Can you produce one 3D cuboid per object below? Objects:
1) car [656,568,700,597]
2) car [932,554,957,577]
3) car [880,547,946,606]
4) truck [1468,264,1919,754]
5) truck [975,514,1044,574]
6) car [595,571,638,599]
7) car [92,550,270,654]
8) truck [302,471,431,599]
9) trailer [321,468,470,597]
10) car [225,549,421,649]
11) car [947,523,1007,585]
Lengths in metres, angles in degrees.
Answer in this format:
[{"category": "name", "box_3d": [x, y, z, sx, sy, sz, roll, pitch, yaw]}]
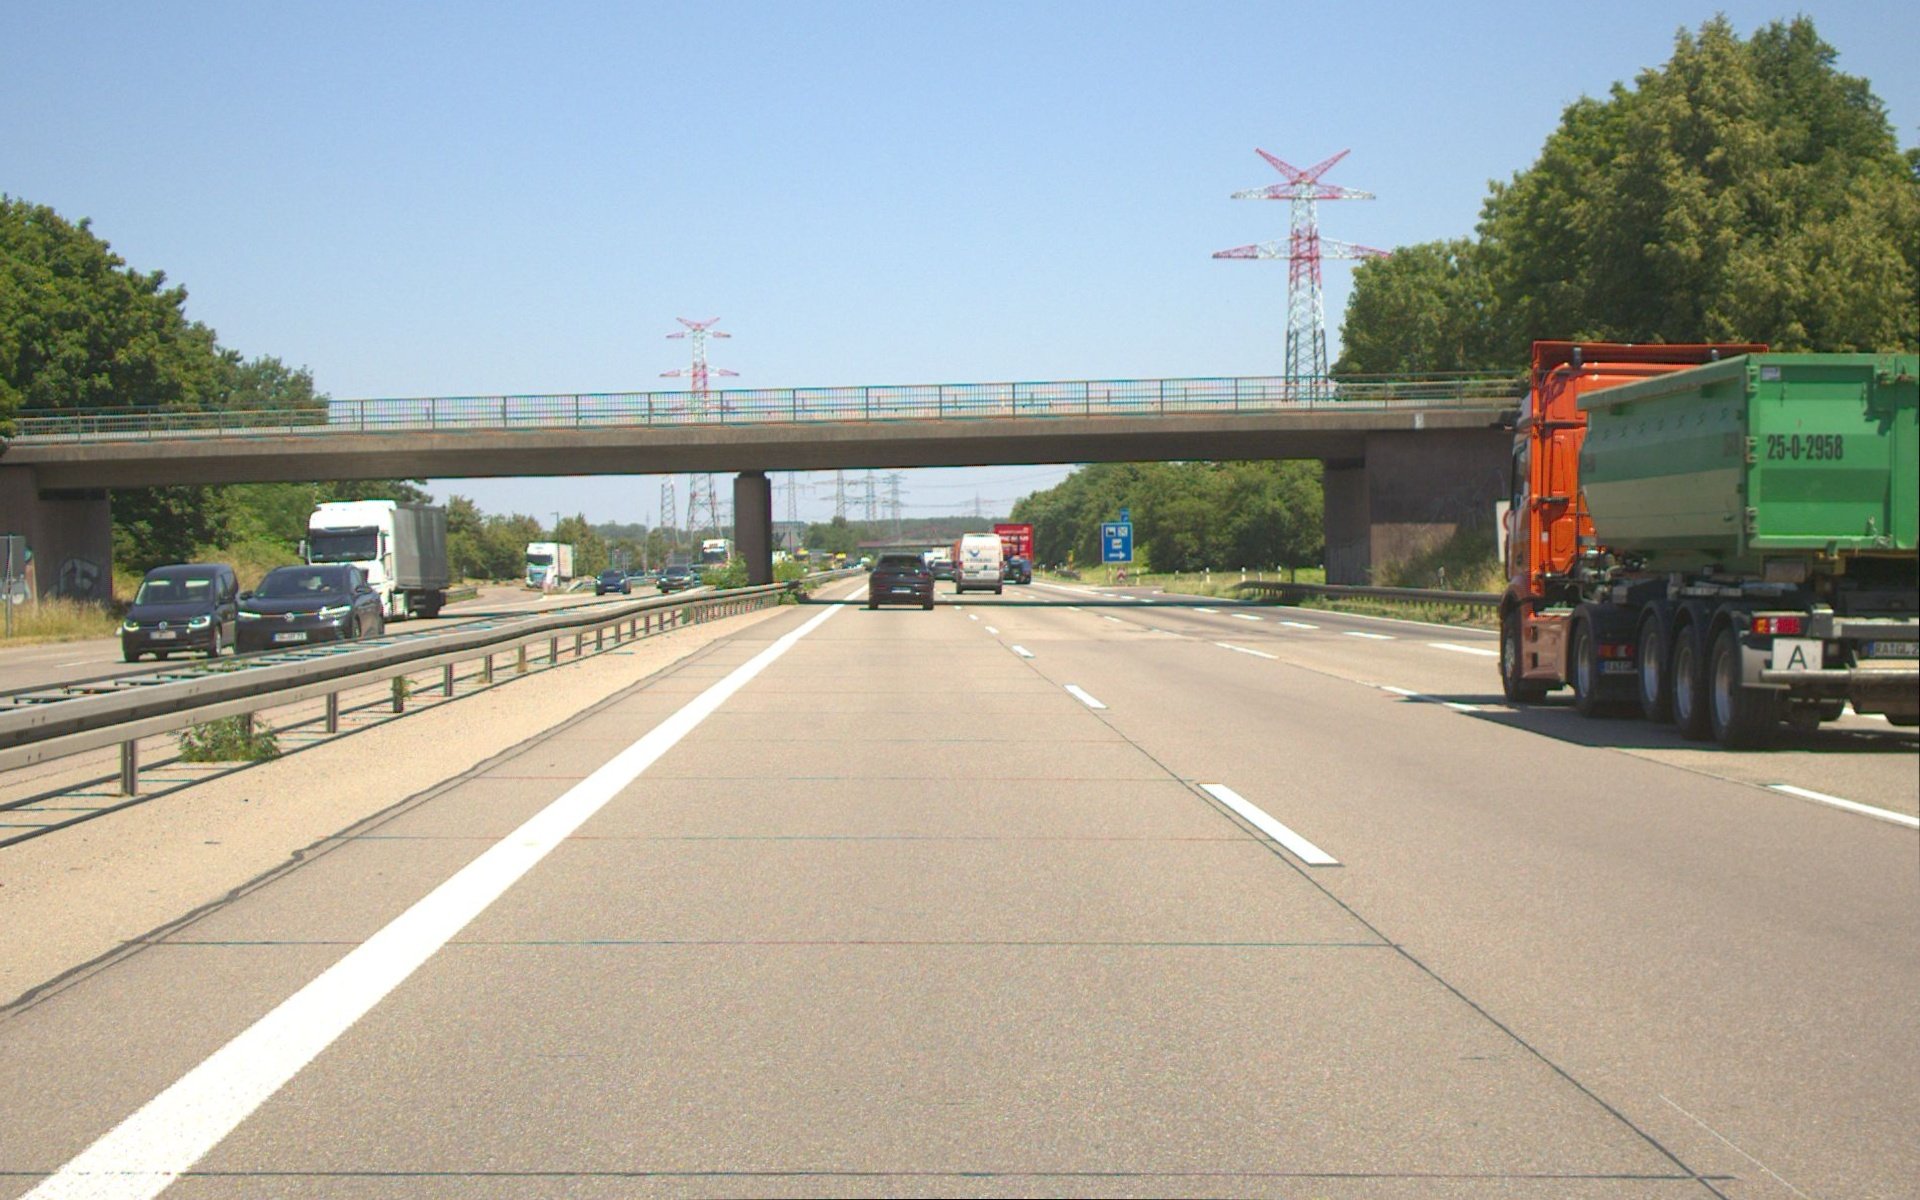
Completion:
[{"category": "car", "box_3d": [-17.009, -1.084, 207.606, 2.227, 1.605, 5.060, -3, 1, -1]}, {"category": "car", "box_3d": [-1.123, -2.516, 249.299, 1.747, 1.628, 4.004, 1, 1, -1]}, {"category": "car", "box_3d": [-1.462, -0.744, 105.855, 1.993, 1.744, 4.000, 1, 1, -1]}, {"category": "truck", "box_3d": [7.249, -0.790, 32.929, 2.681, 3.785, 12.479, 1, 1, -1]}, {"category": "truck", "box_3d": [3.290, -3.823, 234.454, 4.331, 3.928, 16.078, 1, 1, 0]}, {"category": "car", "box_3d": [-21.366, -0.963, 214.043, 2.227, 1.605, 5.060, -3, 1, -1]}, {"category": "car", "box_3d": [-14.862, -0.003, 65.900, 2.227, 1.806, 5.300, -3, 1, -1]}, {"category": "truck", "box_3d": [-19.490, -2.118, 113.250, 2.949, 3.946, 6.953, -3, 1, -1]}, {"category": "trailer", "box_3d": [-19.588, -2.341, 120.281, 2.949, 4.094, 14.104, -3, 1, -1]}, {"category": "car", "box_3d": [-10.177, -0.052, 55.338, 2.227, 1.419, 5.300, -3, 1, -1]}, {"category": "car", "box_3d": [0.746, -2.140, 159.588, 2.621, 2.749, 6.097, 1, 1, -1]}]
